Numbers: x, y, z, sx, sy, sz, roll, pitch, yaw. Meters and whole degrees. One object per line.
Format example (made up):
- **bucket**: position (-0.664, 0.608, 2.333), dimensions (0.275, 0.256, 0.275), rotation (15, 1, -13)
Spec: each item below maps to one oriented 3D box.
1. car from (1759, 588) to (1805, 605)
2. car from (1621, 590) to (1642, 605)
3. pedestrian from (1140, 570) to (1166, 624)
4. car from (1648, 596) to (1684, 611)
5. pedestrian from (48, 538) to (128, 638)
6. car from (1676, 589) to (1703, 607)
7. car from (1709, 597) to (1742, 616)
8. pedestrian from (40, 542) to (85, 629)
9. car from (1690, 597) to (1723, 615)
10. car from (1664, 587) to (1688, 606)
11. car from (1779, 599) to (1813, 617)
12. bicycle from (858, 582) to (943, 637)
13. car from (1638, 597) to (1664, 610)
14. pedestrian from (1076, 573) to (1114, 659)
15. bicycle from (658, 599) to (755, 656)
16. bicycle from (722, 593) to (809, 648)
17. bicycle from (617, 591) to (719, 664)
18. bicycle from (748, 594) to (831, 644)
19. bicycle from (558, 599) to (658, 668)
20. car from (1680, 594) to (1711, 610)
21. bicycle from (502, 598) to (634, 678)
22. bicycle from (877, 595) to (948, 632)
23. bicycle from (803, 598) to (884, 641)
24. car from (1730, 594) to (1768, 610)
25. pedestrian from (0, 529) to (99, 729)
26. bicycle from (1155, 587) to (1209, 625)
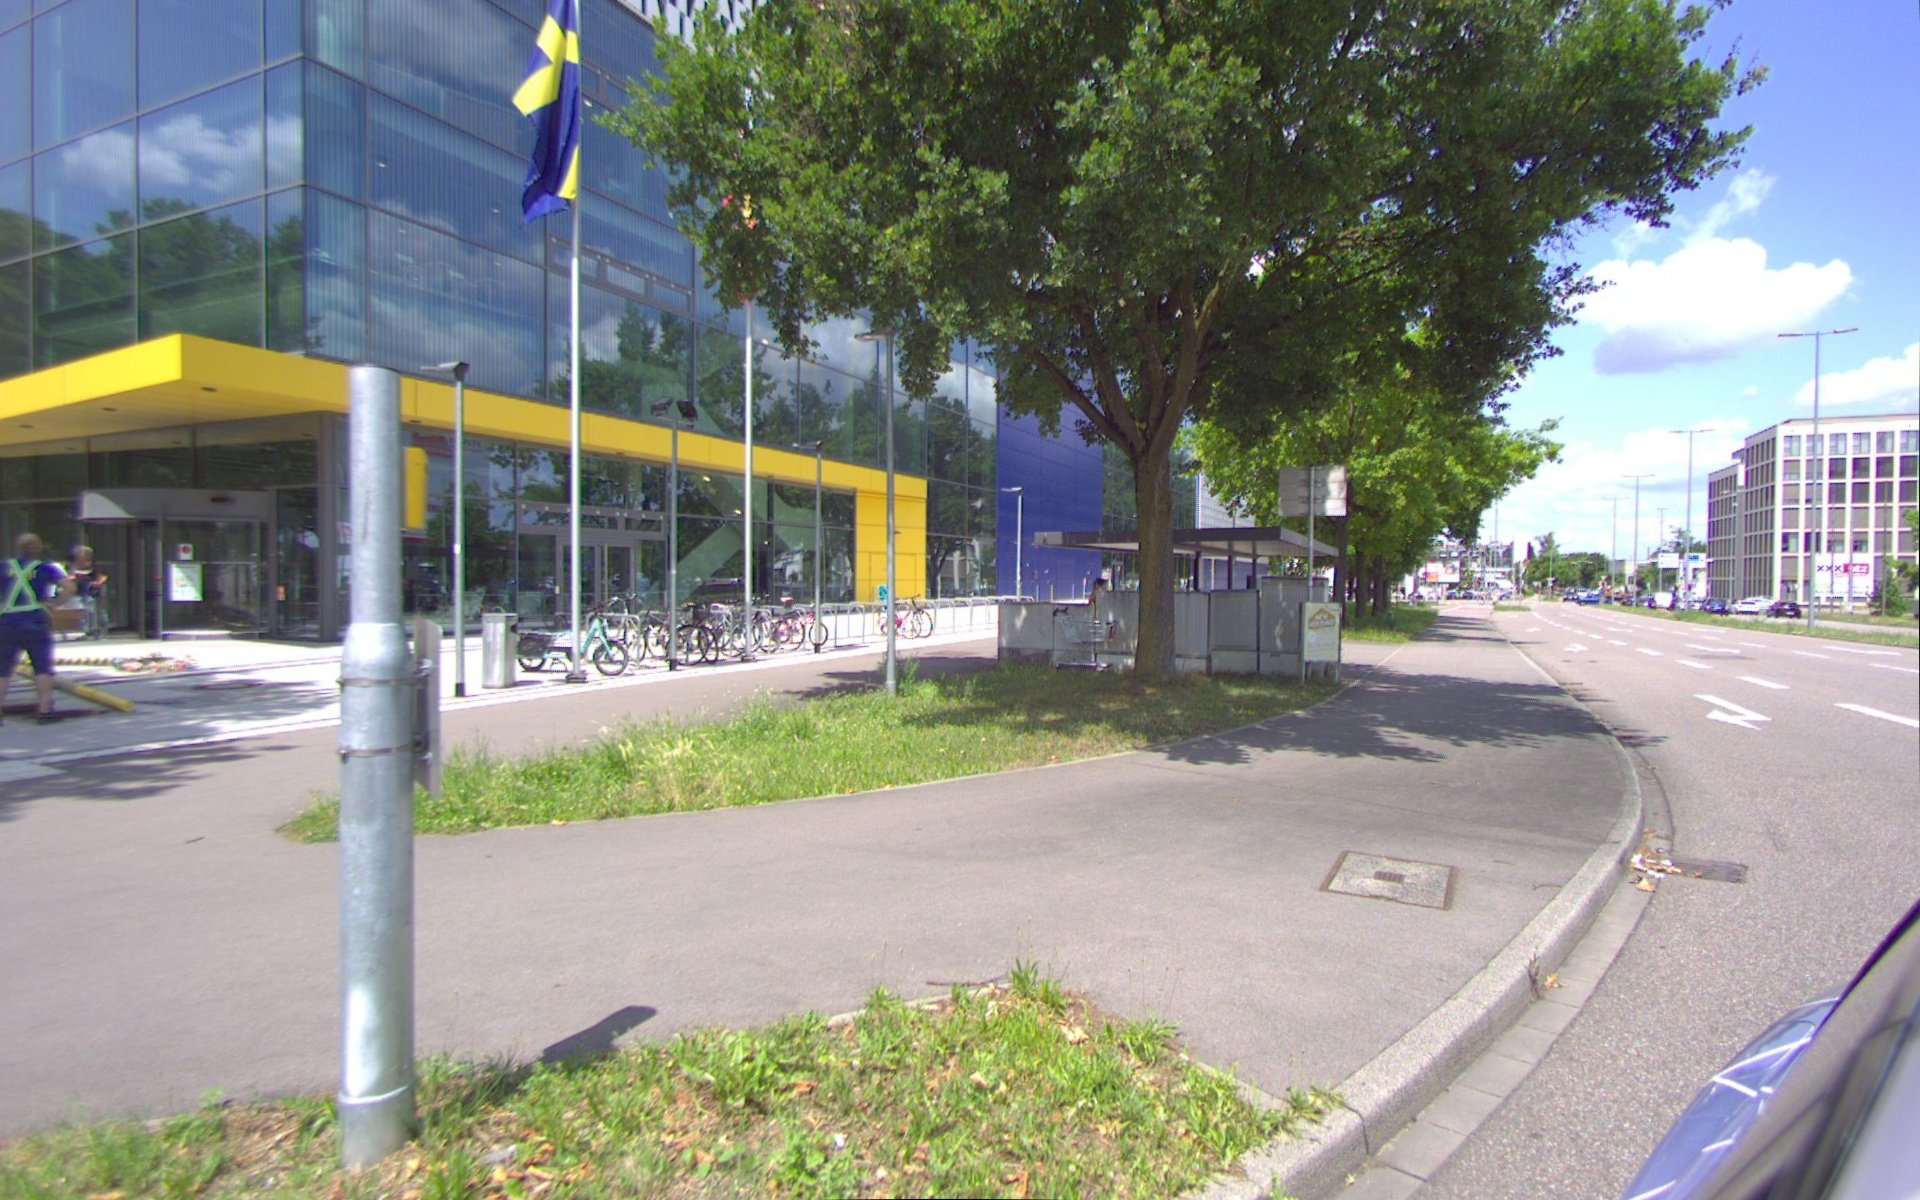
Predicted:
- **car**: position (99.199, -0.434, 122.197), dimensions (3.969, 2.039, 1.978), rotation (2, 1, 32)
- **car**: position (78.197, -0.264, 117.894), dimensions (1.783, 1.665, 4.125), rotation (2, 1, 30)
- **pedestrian**: position (6.316, -0.114, 33.117), dimensions (0.622, 1.742, 0.526), rotation (0, 2, -23)
- **car**: position (77.400, 0.363, 110.943), dimensions (1.768, 1.580, 3.759), rotation (1, 1, 10)
- **pedestrian**: position (-17.175, -0.230, 19.955), dimensions (0.954, 1.909, 0.889), rotation (1, 0, -23)
- **car**: position (74.882, -0.224, 103.924), dimensions (1.782, 1.723, 4.183), rotation (2, 1, 29)
- **car**: position (64.136, 0.516, 84.810), dimensions (1.730, 1.493, 3.637), rotation (2, 2, 30)
- **pedestrian**: position (-20.173, -0.328, 22.744), dimensions (0.777, 1.909, 0.610), rotation (1, 0, 36)
- **car**: position (68.173, 0.531, 92.488), dimensions (1.782, 1.435, 4.627), rotation (3, 2, 29)
- **car**: position (81.911, -0.382, 115.771), dimensions (1.848, 2.069, 3.537), rotation (2, 0, 30)
- **car**: position (70.914, 0.672, 85.874), dimensions (1.612, 1.488, 4.070), rotation (2, 1, 31)
- **bicycle**: position (-1.493, 0.206, 25.076), dimensions (2.136, 1.245, 0.711), rotation (3, 1, 38)
- **car**: position (73.084, 0.395, 107.070), dimensions (1.782, 1.267, 4.263), rotation (2, 1, 29)
- **pedestrian**: position (2.709, 0.303, 20.250), dimensions (0.543, 1.683, 0.538), rotation (1, 1, 38)
- **bicycle**: position (-4.721, 0.492, 18.824), dimensions (1.847, 1.007, 0.461), rotation (1, 0, 24)
- **bicycle**: position (-4.010, 0.411, 20.835), dimensions (1.847, 1.007, 0.420), rotation (3, 2, 23)
- **bicycle**: position (-5.026, 0.458, 17.428), dimensions (1.657, 1.172, 0.460), rotation (2, 1, 14)
- **bicycle**: position (-3.706, 0.408, 21.981), dimensions (1.847, 1.007, 0.420), rotation (2, 1, 23)
- **bicycle**: position (-5.816, 0.526, 16.694), dimensions (1.852, 1.007, 0.419), rotation (3, 1, 30)
- **car**: position (71.376, 0.219, 98.262), dimensions (1.782, 1.419, 4.796), rotation (2, 1, 29)
- **bicycle**: position (-5.961, 0.561, 15.411), dimensions (1.895, 1.121, 0.503), rotation (1, 3, 10)
- **bicycle**: position (-1.238, 0.345, 26.247), dimensions (1.851, 0.893, 0.466), rotation (2, 1, 28)
- **bicycle**: position (-2.650, 0.430, 22.996), dimensions (1.847, 0.893, 0.420), rotation (2, 1, 23)
- **car**: position (77.655, 0.199, 99.633), dimensions (1.604, 1.491, 4.331), rotation (2, 1, 19)
- **pedestrian**: position (-9.432, 0.265, 10.256), dimensions (1.007, 1.926, 0.959), rotation (1, 1, 42)
- **bicycle**: position (7.057, 0.175, 32.306), dimensions (0.565, 1.121, 2.019), rotation (1, 2, -25)
